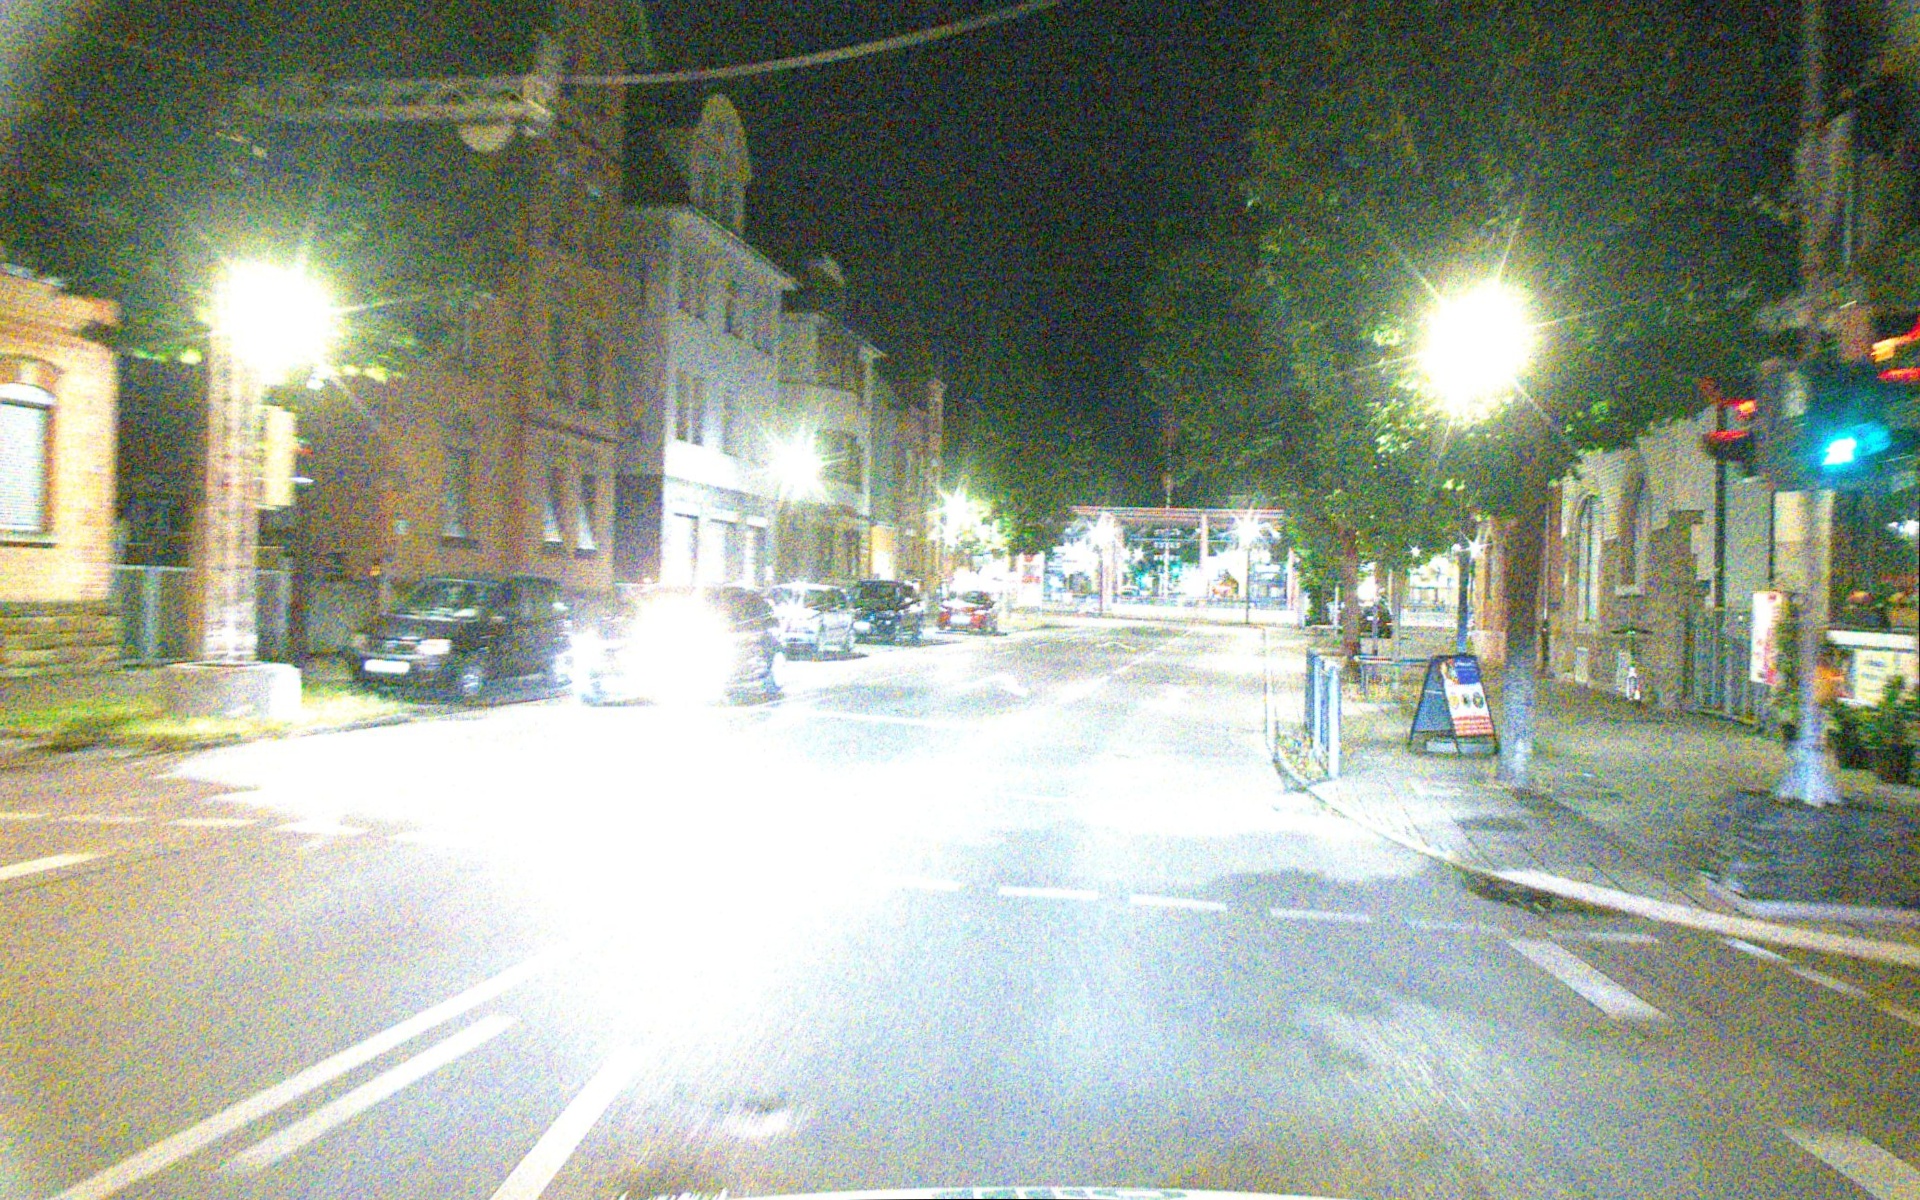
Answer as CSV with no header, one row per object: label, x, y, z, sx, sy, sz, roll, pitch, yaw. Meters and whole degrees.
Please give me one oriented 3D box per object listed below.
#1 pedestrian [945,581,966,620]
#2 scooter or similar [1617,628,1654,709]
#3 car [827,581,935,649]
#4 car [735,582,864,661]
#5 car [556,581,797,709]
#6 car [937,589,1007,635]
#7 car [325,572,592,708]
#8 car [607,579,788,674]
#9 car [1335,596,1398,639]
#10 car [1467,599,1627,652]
pedestrian,-0.228,0.023,81.898,0.718,1.853,0.683,2,-1,-36
scooter or similar,10.292,1.023,25.213,0.413,1.150,1.494,0,0,18
car,-2.026,0.353,43.828,1.747,1.609,4.415,3,1,12
car,-3.402,0.413,35.804,1.747,1.517,4.004,3,1,9
car,-3.466,0.504,20.970,1.678,1.454,4.004,-1,0,11
car,0.454,0.374,56.231,1.746,1.440,4.130,2,1,9
car,-6.384,0.442,21.467,1.559,1.517,3.702,3,2,15
car,-4.705,0.424,30.293,1.747,1.517,4.333,3,1,12
car,15.238,0.629,62.218,1.697,1.485,4.731,1,1,7
car,17.161,0.725,48.552,4.333,1.485,1.790,0,1,16
